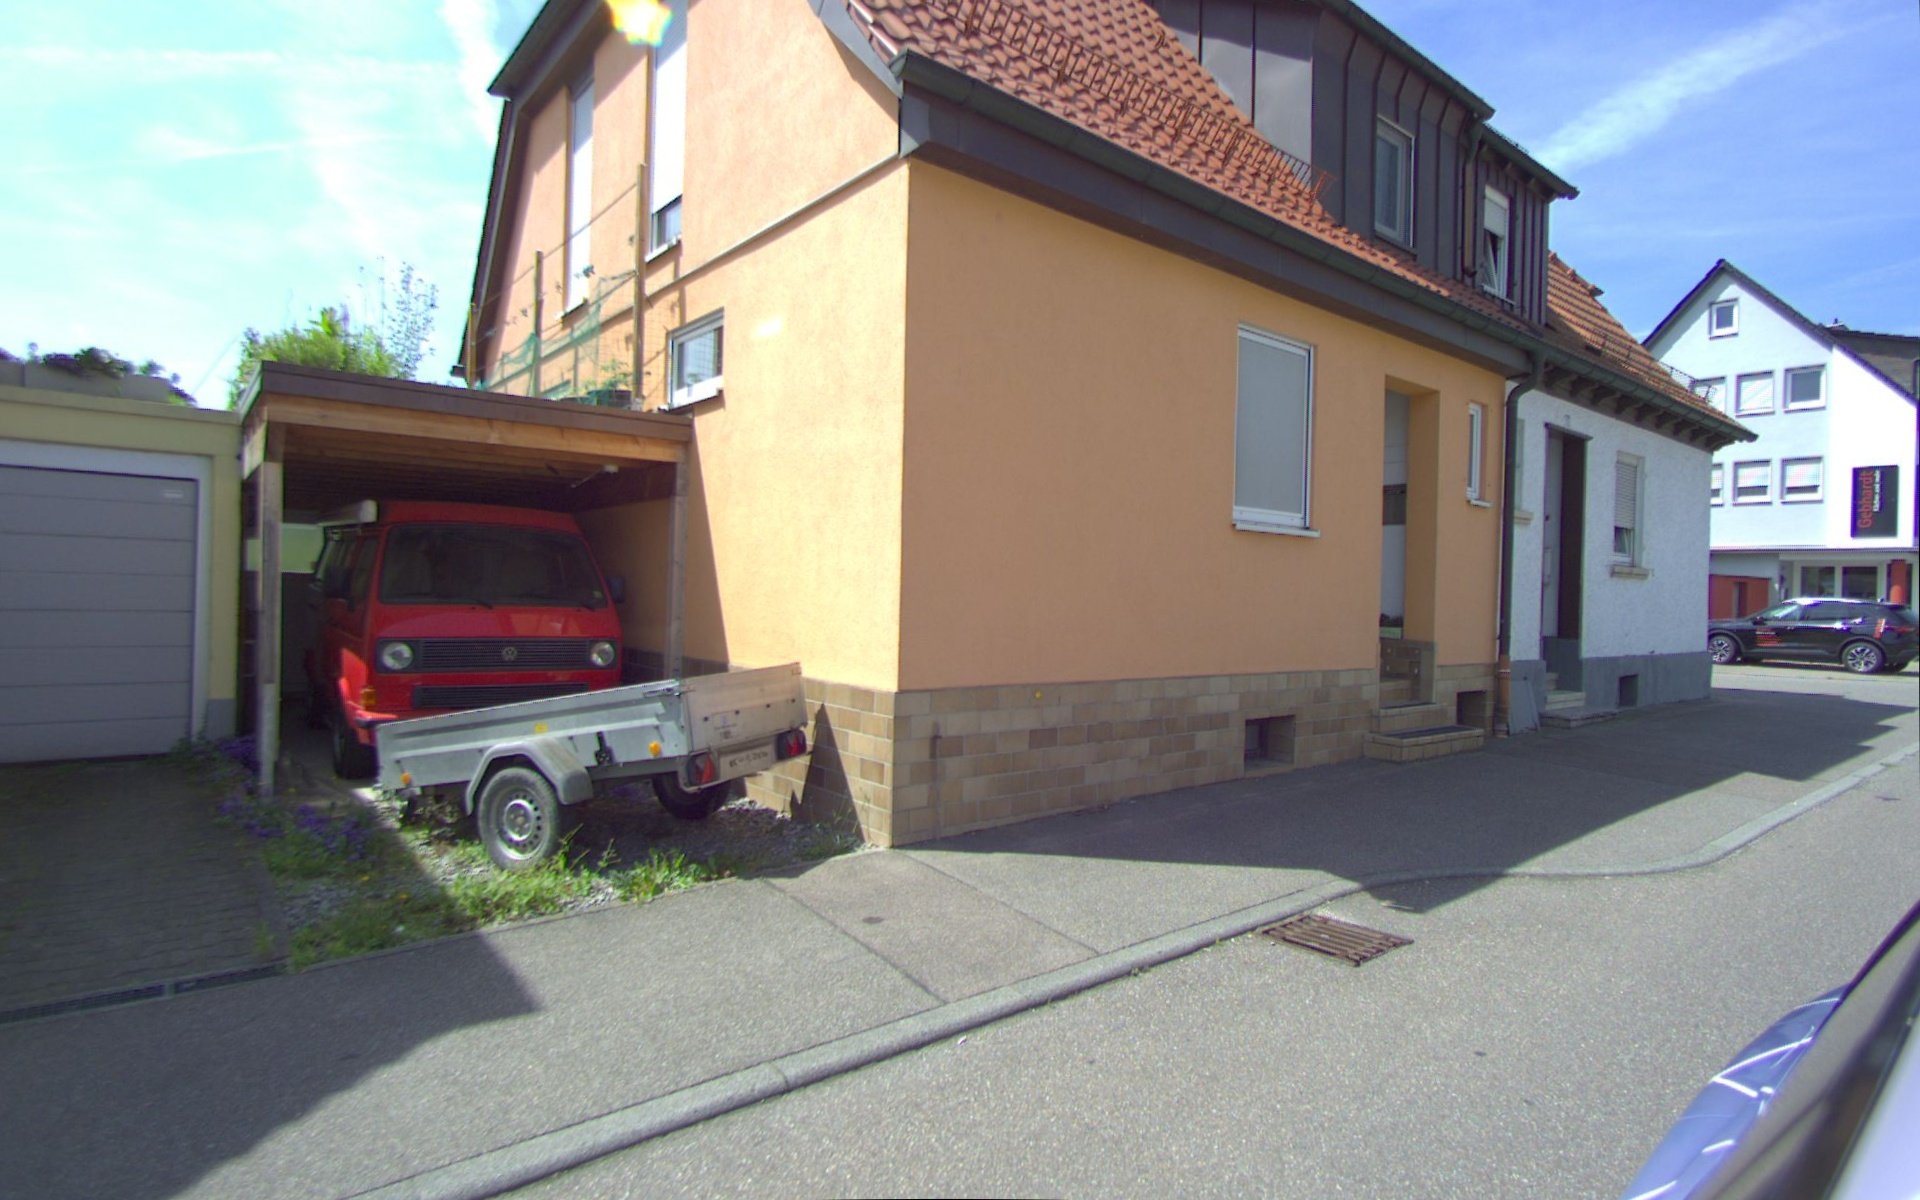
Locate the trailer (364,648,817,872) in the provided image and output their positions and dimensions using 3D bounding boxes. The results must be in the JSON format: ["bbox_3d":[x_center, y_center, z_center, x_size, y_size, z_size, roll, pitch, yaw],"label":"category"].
[{"bbox_3d":[-2.028,0.790,5.669,2.116,0.910,1.234,1,0,22],"label":"trailer"}]

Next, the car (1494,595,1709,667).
[{"bbox_3d":[15.177,0.685,24.168,1.660,1.523,4.004,2,0,-30],"label":"car"}]

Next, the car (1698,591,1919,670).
[{"bbox_3d":[20.149,0.642,23.672,1.811,1.674,4.312,0,0,-30],"label":"car"}]

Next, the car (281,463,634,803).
[{"bbox_3d":[-4.398,0.172,8.474,1.803,2.097,4.221,0,1,-38],"label":"car"}]
